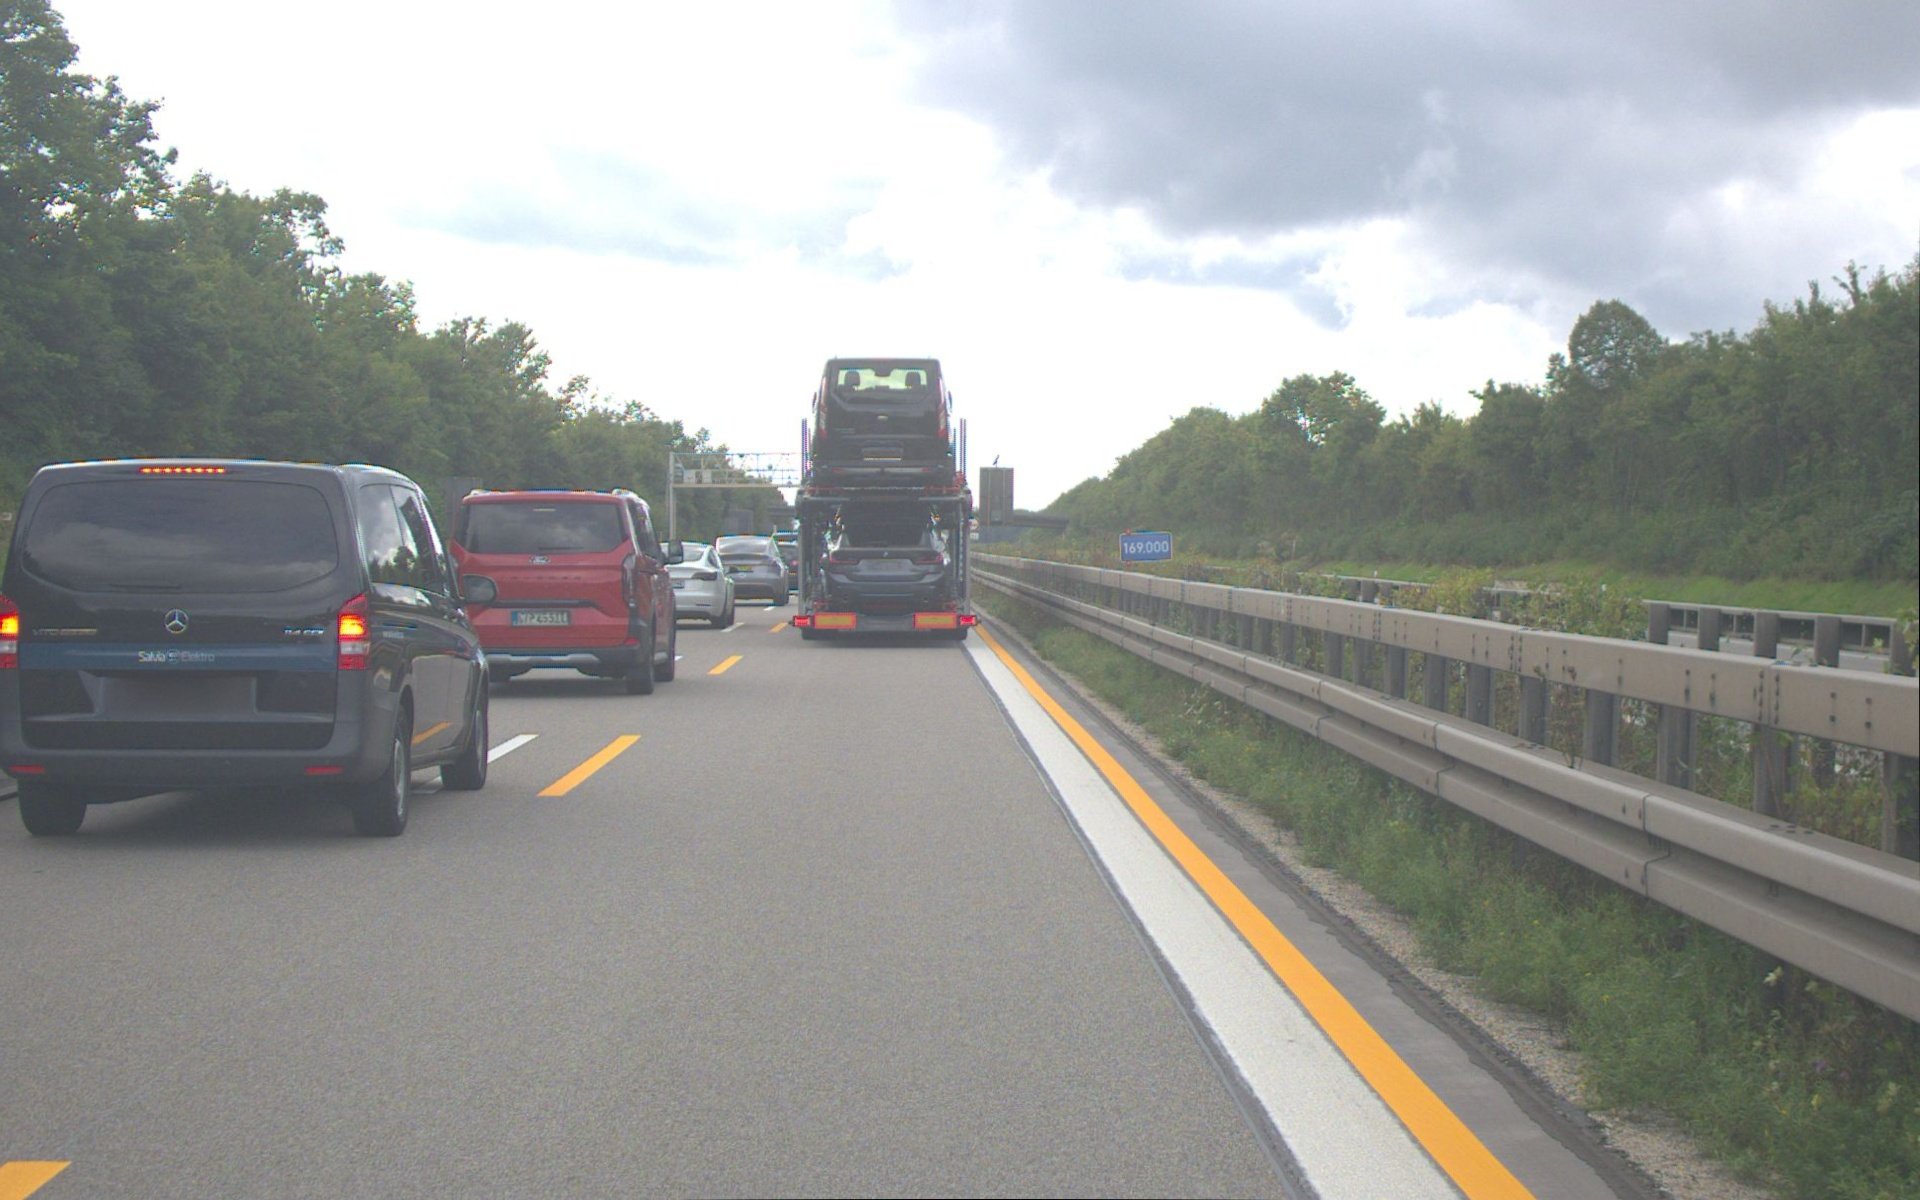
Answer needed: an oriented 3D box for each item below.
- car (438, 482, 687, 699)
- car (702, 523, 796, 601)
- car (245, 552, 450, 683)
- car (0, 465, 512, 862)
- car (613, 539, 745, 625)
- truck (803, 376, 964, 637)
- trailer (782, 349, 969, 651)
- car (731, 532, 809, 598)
[{"bbox_3d":[-3.867,-0.124,34.173,2.031,2.007,4.578,0,1,-1],"label":"car"},{"bbox_3d":[-4.874,-0.890,79.809,2.031,1.751,4.578,0,1,-2],"label":"car"},{"bbox_3d":[-7.675,0.180,43.478,1.934,1.485,4.589,1,1,-3],"label":"car"},{"bbox_3d":[-3.772,0.250,18.804,1.993,1.836,5.610,0,1,-1],"label":"car"},{"bbox_3d":[-4.780,-0.337,59.020,2.031,1.426,4.578,0,1,-2],"label":"car"},{"bbox_3d":[-1.235,-1.517,57.062,2.515,4.091,5.685,0,1,0],"label":"truck"},{"bbox_3d":[-1.197,-1.447,52.350,2.515,4.091,11.114,0,1,0],"label":"trailer"},{"bbox_3d":[-5.144,-0.980,93.631,2.031,1.751,4.578,0,1,-2],"label":"car"}]
